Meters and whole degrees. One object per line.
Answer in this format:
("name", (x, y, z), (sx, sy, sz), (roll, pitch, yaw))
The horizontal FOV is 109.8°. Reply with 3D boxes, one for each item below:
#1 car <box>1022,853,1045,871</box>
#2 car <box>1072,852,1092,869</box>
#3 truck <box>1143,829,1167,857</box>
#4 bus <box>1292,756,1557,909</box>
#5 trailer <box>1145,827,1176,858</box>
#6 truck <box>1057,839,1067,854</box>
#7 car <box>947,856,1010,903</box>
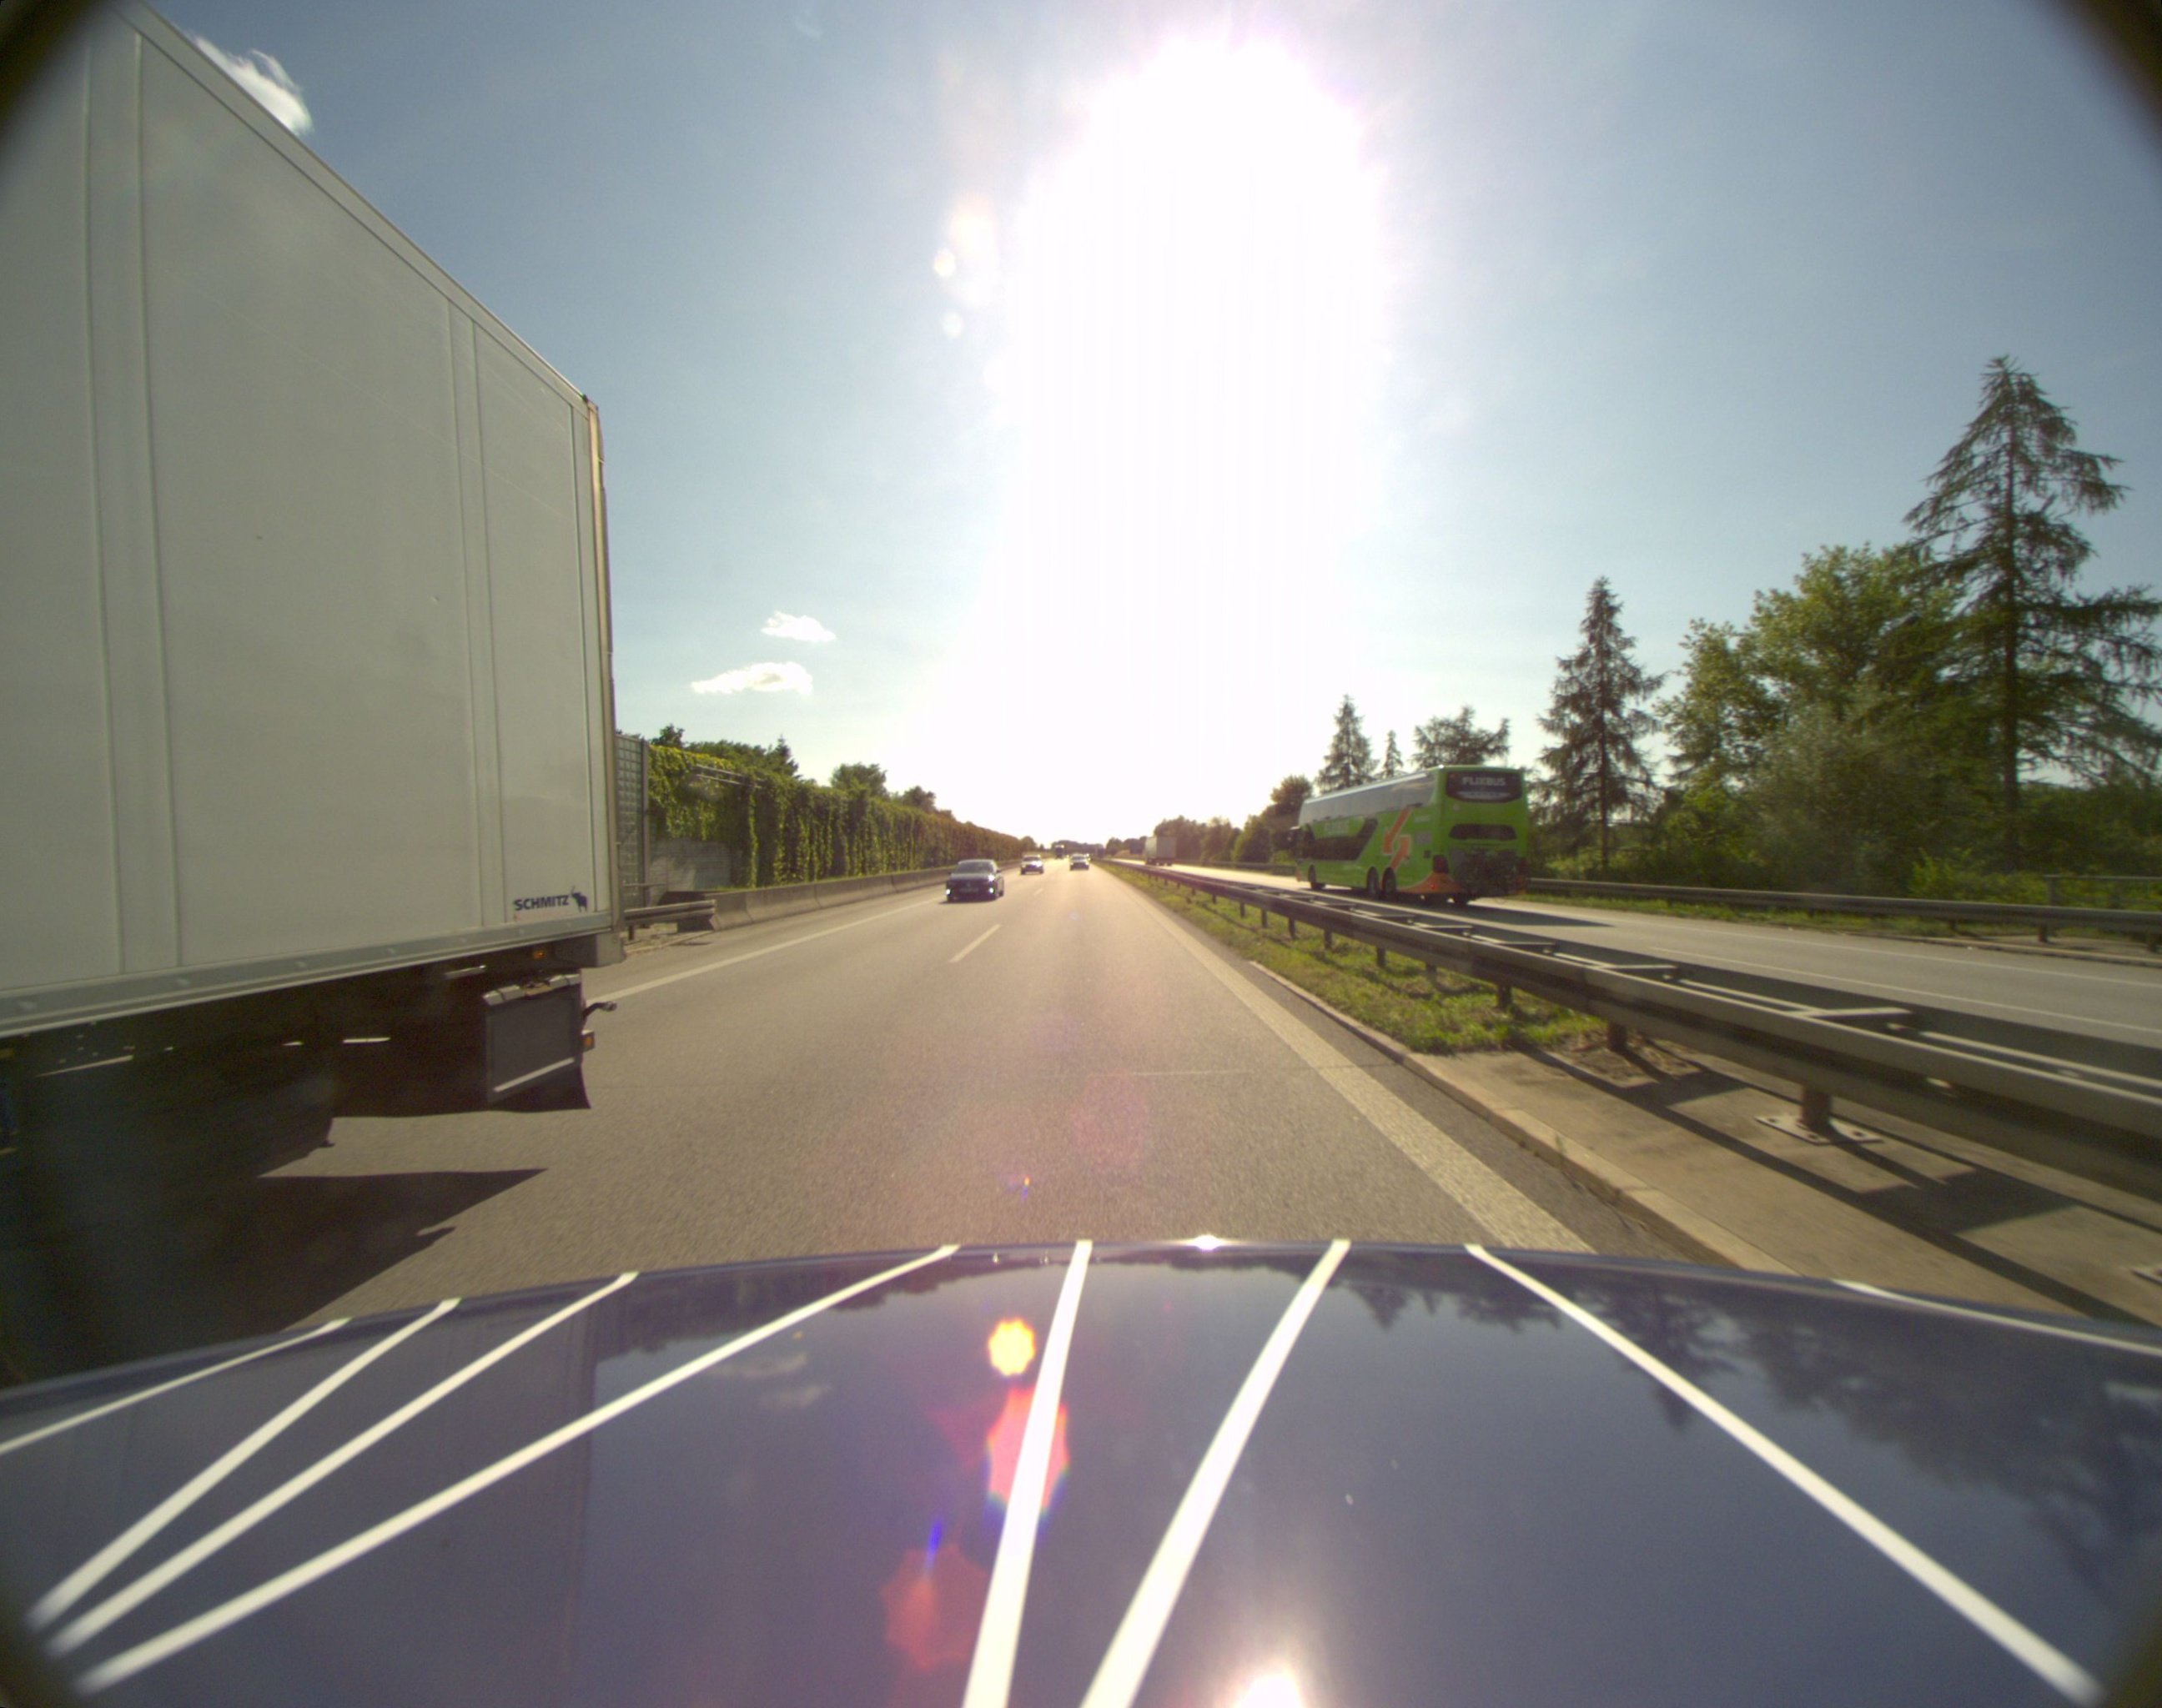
("car", (-3.927, 0.656, 63.093), (1.689, 1.487, 4.986), (0, 0, -1))
("car", (0.088, 0.594, 72.836), (1.871, 1.514, 4.283), (0, 1, 0))
("truck", (10.752, -1.554, 110.843), (2.650, 3.985, 7.191), (0, 1, 0))
("bus", (11.069, -0.635, 27.324), (2.944, 4.031, 14.666), (0, 1, 0))
("trailer", (10.809, -1.592, 105.004), (2.668, 3.985, 14.084), (0, 1, -1))
("truck", (-5.433, -2.248, 219.148), (2.537, 4.228, 11.264), (-1, 1, 0))
("car", (-3.703, 0.877, 28.137), (1.669, 1.446, 4.543), (-2, 1, 0))
